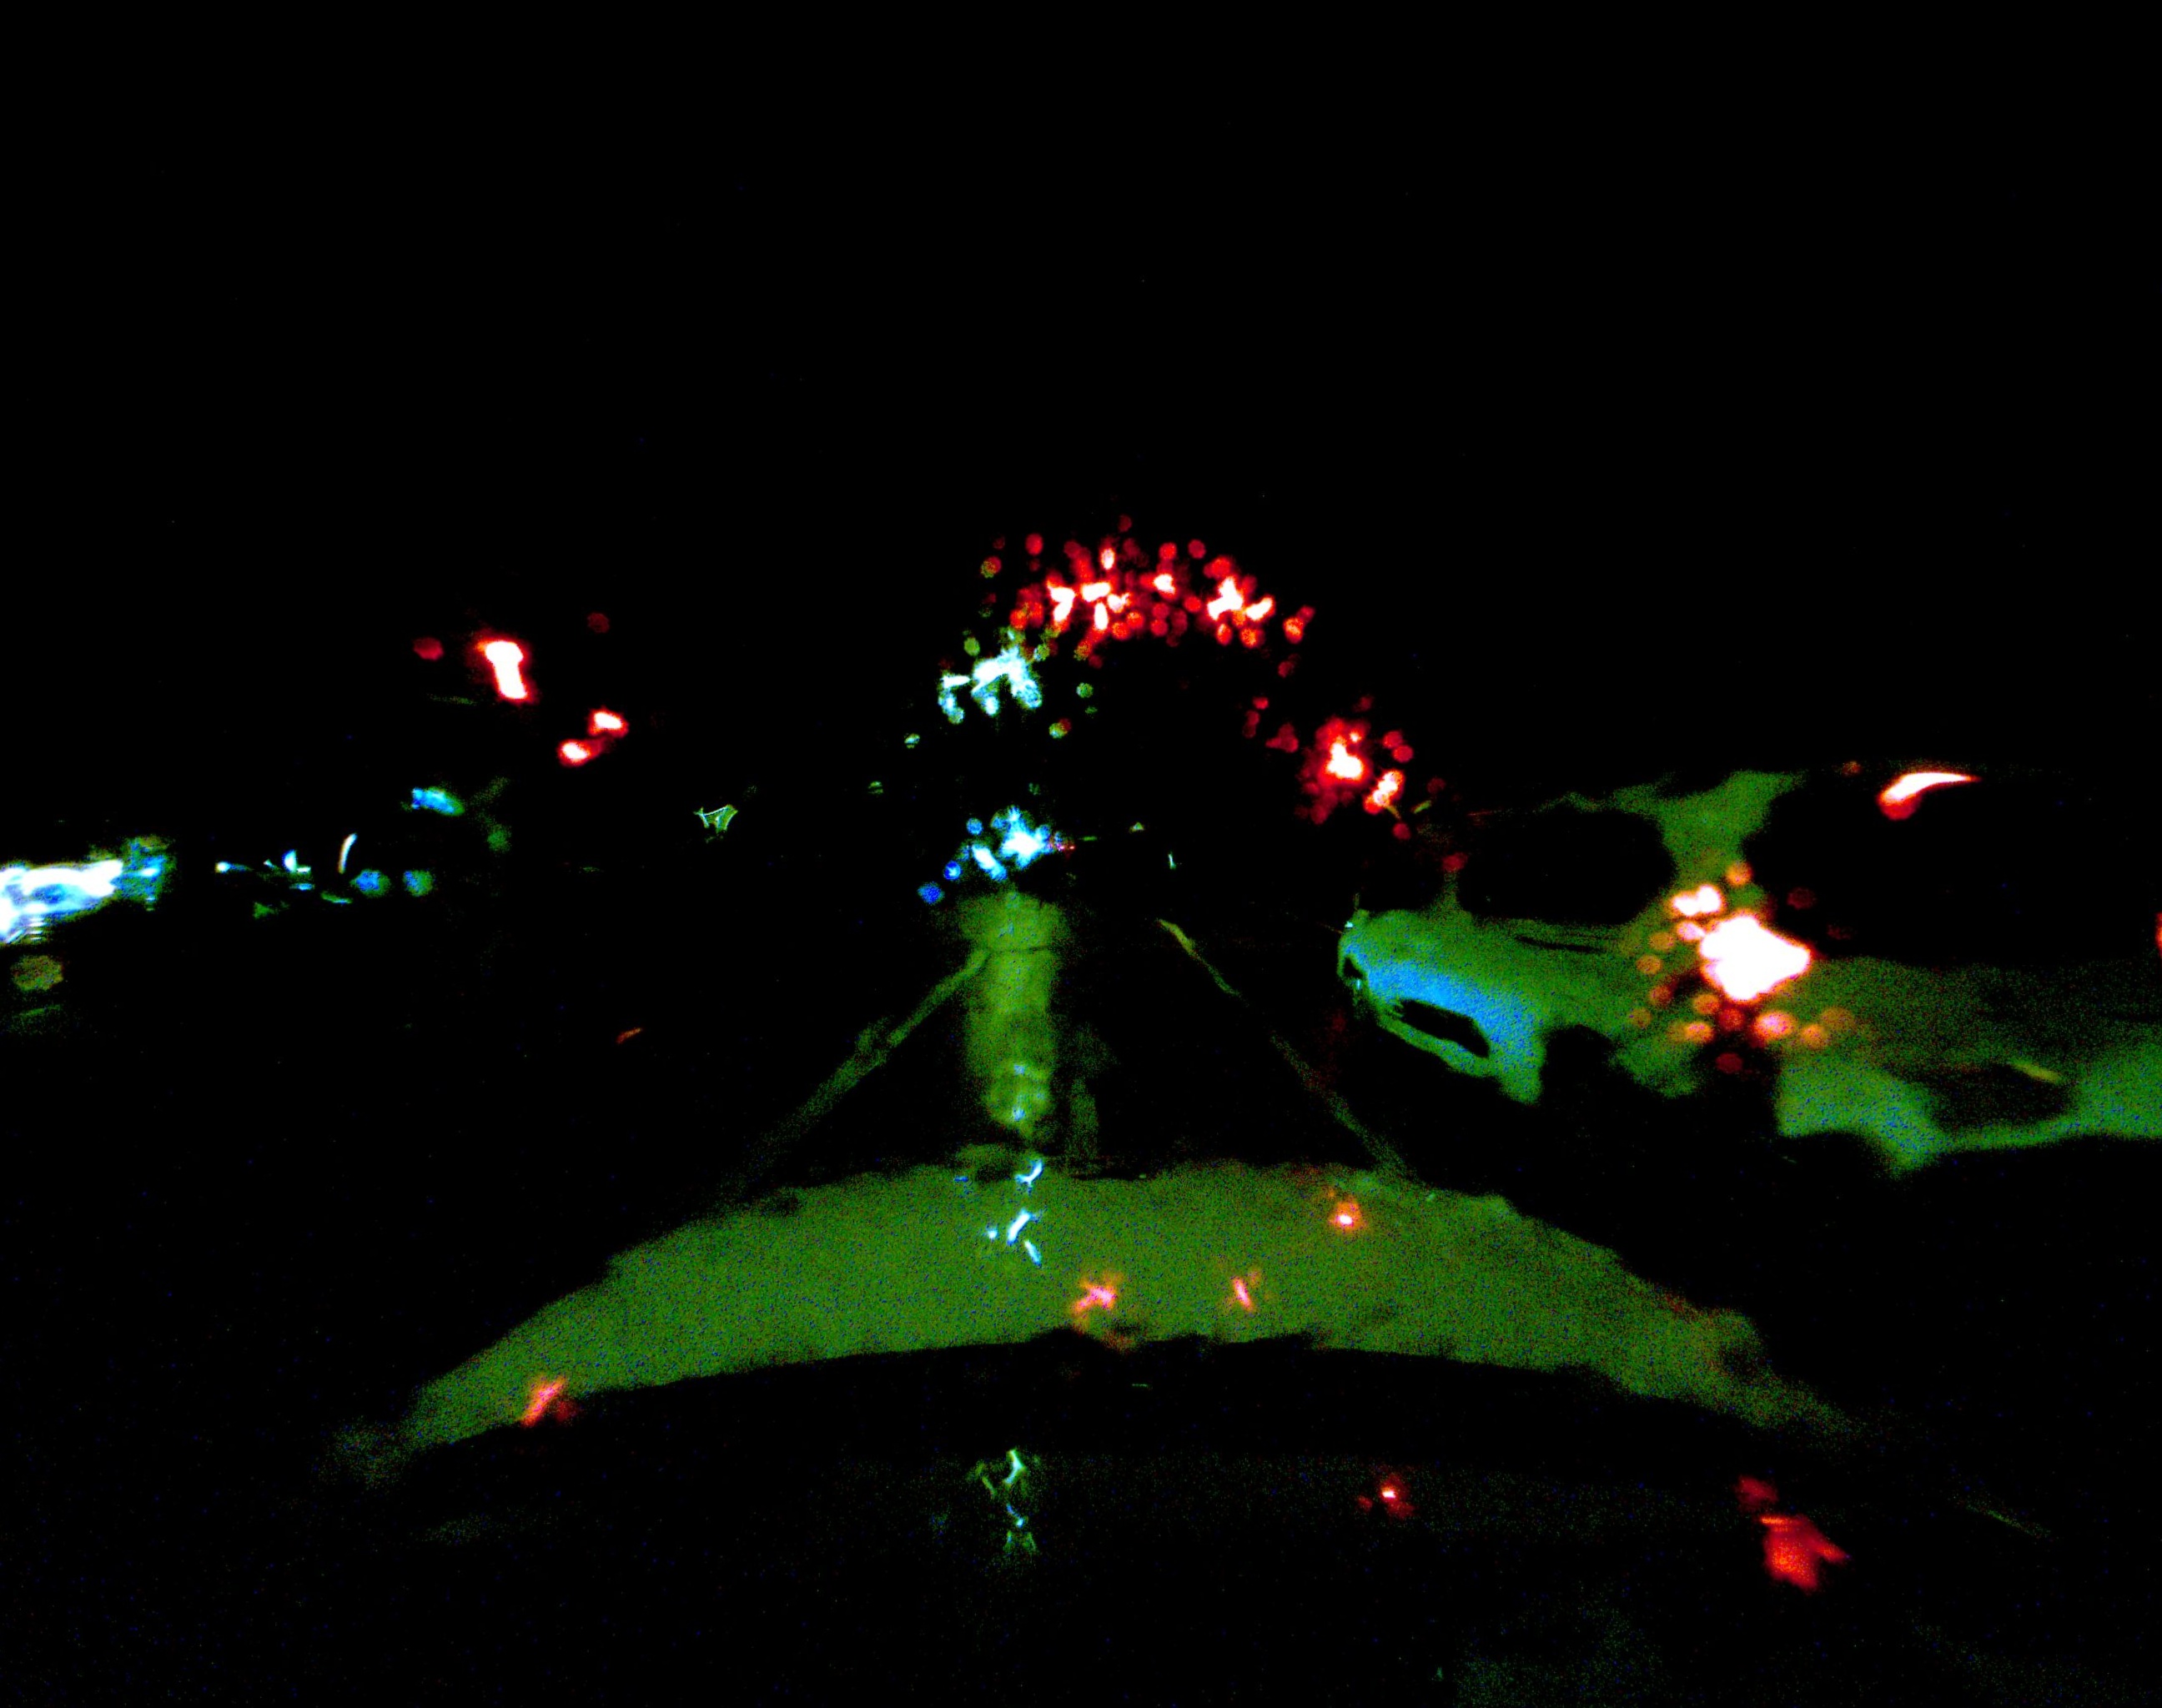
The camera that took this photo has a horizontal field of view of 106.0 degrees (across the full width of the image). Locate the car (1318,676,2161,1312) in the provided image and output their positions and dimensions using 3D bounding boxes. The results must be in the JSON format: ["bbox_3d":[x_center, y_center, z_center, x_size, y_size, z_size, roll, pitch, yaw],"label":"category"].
[{"bbox_3d":[2.961,0.439,4.899,1.785,2.022,4.580,-1,0,1],"label":"car"}]

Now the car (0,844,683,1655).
[{"bbox_3d":[-2.917,0.764,1.711,1.776,1.511,4.439,-2,0,2],"label":"car"}]

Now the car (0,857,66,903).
[{"bbox_3d":[-37.824,0.871,29.064,4.320,1.518,1.525,0,-1,45],"label":"car"}]

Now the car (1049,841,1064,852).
[{"bbox_3d":[-4.294,-1.310,143.883,1.983,1.717,4.006,3,-1,6],"label":"car"}]

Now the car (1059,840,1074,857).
[{"bbox_3d":[-1.753,-0.677,98.187,1.786,2.022,4.577,-1,0,-1],"label":"car"}]

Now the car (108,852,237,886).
[{"bbox_3d":[-42.321,0.671,38.068,1.718,1.519,3.993,0,0,-5],"label":"car"}]

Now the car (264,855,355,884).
[{"bbox_3d":[-42.994,0.848,45.509,1.721,1.519,3.987,0,0,-10],"label":"car"}]
